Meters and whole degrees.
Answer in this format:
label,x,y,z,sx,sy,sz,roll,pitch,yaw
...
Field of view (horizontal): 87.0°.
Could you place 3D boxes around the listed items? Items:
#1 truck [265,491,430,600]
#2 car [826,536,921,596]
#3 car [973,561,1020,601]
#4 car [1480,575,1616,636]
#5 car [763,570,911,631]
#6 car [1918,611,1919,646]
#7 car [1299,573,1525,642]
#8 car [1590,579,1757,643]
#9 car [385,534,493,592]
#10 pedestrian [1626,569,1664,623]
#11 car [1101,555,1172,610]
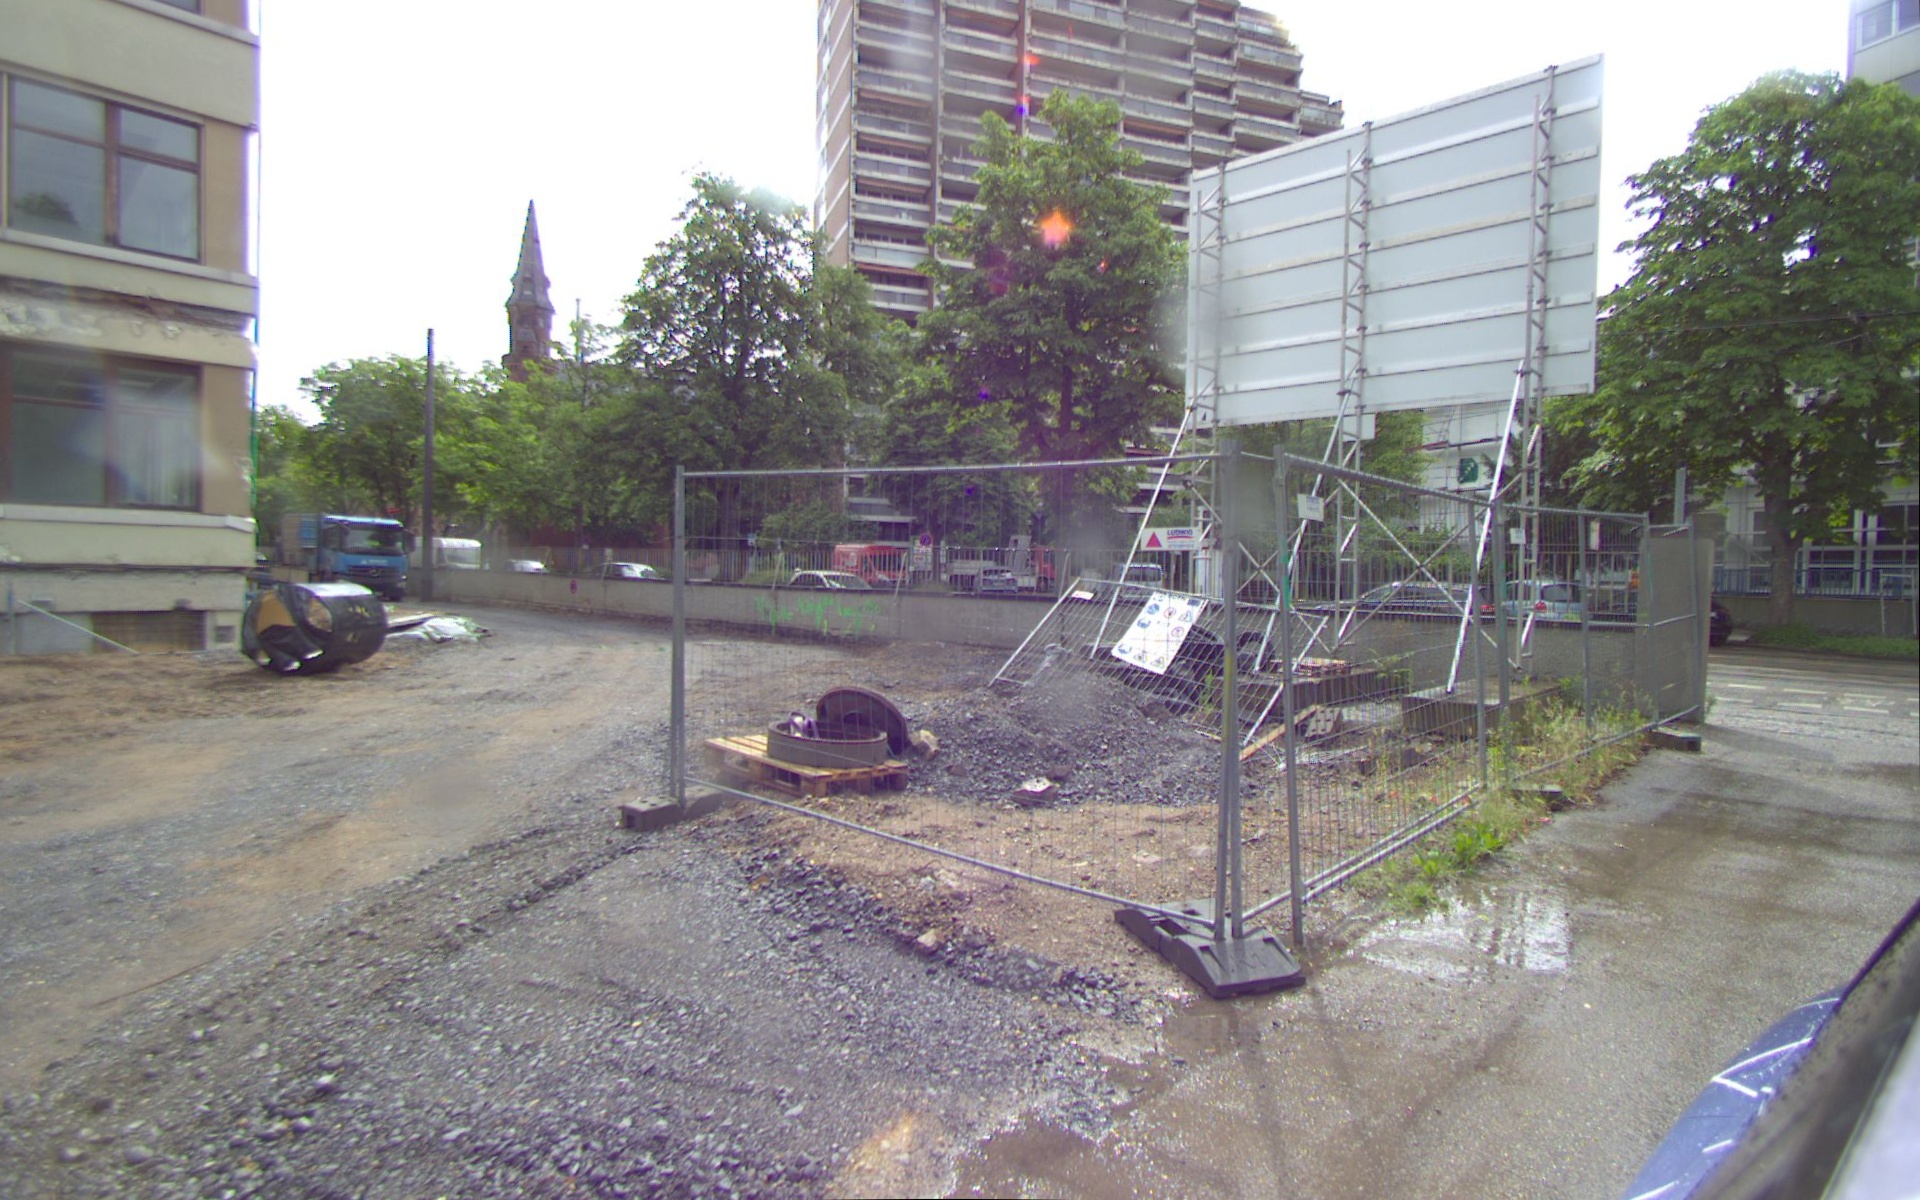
label,x,y,z,sx,sy,sz,roll,pitch,yaw
truck,-23.564,-1.925,38.606,3.189,3.572,9.885,2,0,-44
car,-4.235,-1.639,48.744,2.257,2.666,5.489,1,2,-31
car,1.559,-0.866,44.139,1.751,1.584,4.050,1,3,-1
car,16.452,0.094,28.543,1.676,1.570,3.650,1,2,1
car,-3.327,-0.012,26.976,1.859,1.489,3.989,2,0,-44
car,23.643,0.431,22.305,1.709,1.487,3.409,2,2,0
car,11.176,0.153,25.239,4.748,1.499,1.969,2,0,43
car,18.474,0.220,26.423,1.708,1.487,3.651,1,2,0
car,-24.691,-1.691,47.853,6.131,2.505,2.556,1,0,43
pedestrian,23.004,-0.133,33.985,0.694,1.765,0.838,1,-1,4
car,6.654,-0.715,38.704,1.902,1.920,4.645,2,2,1
